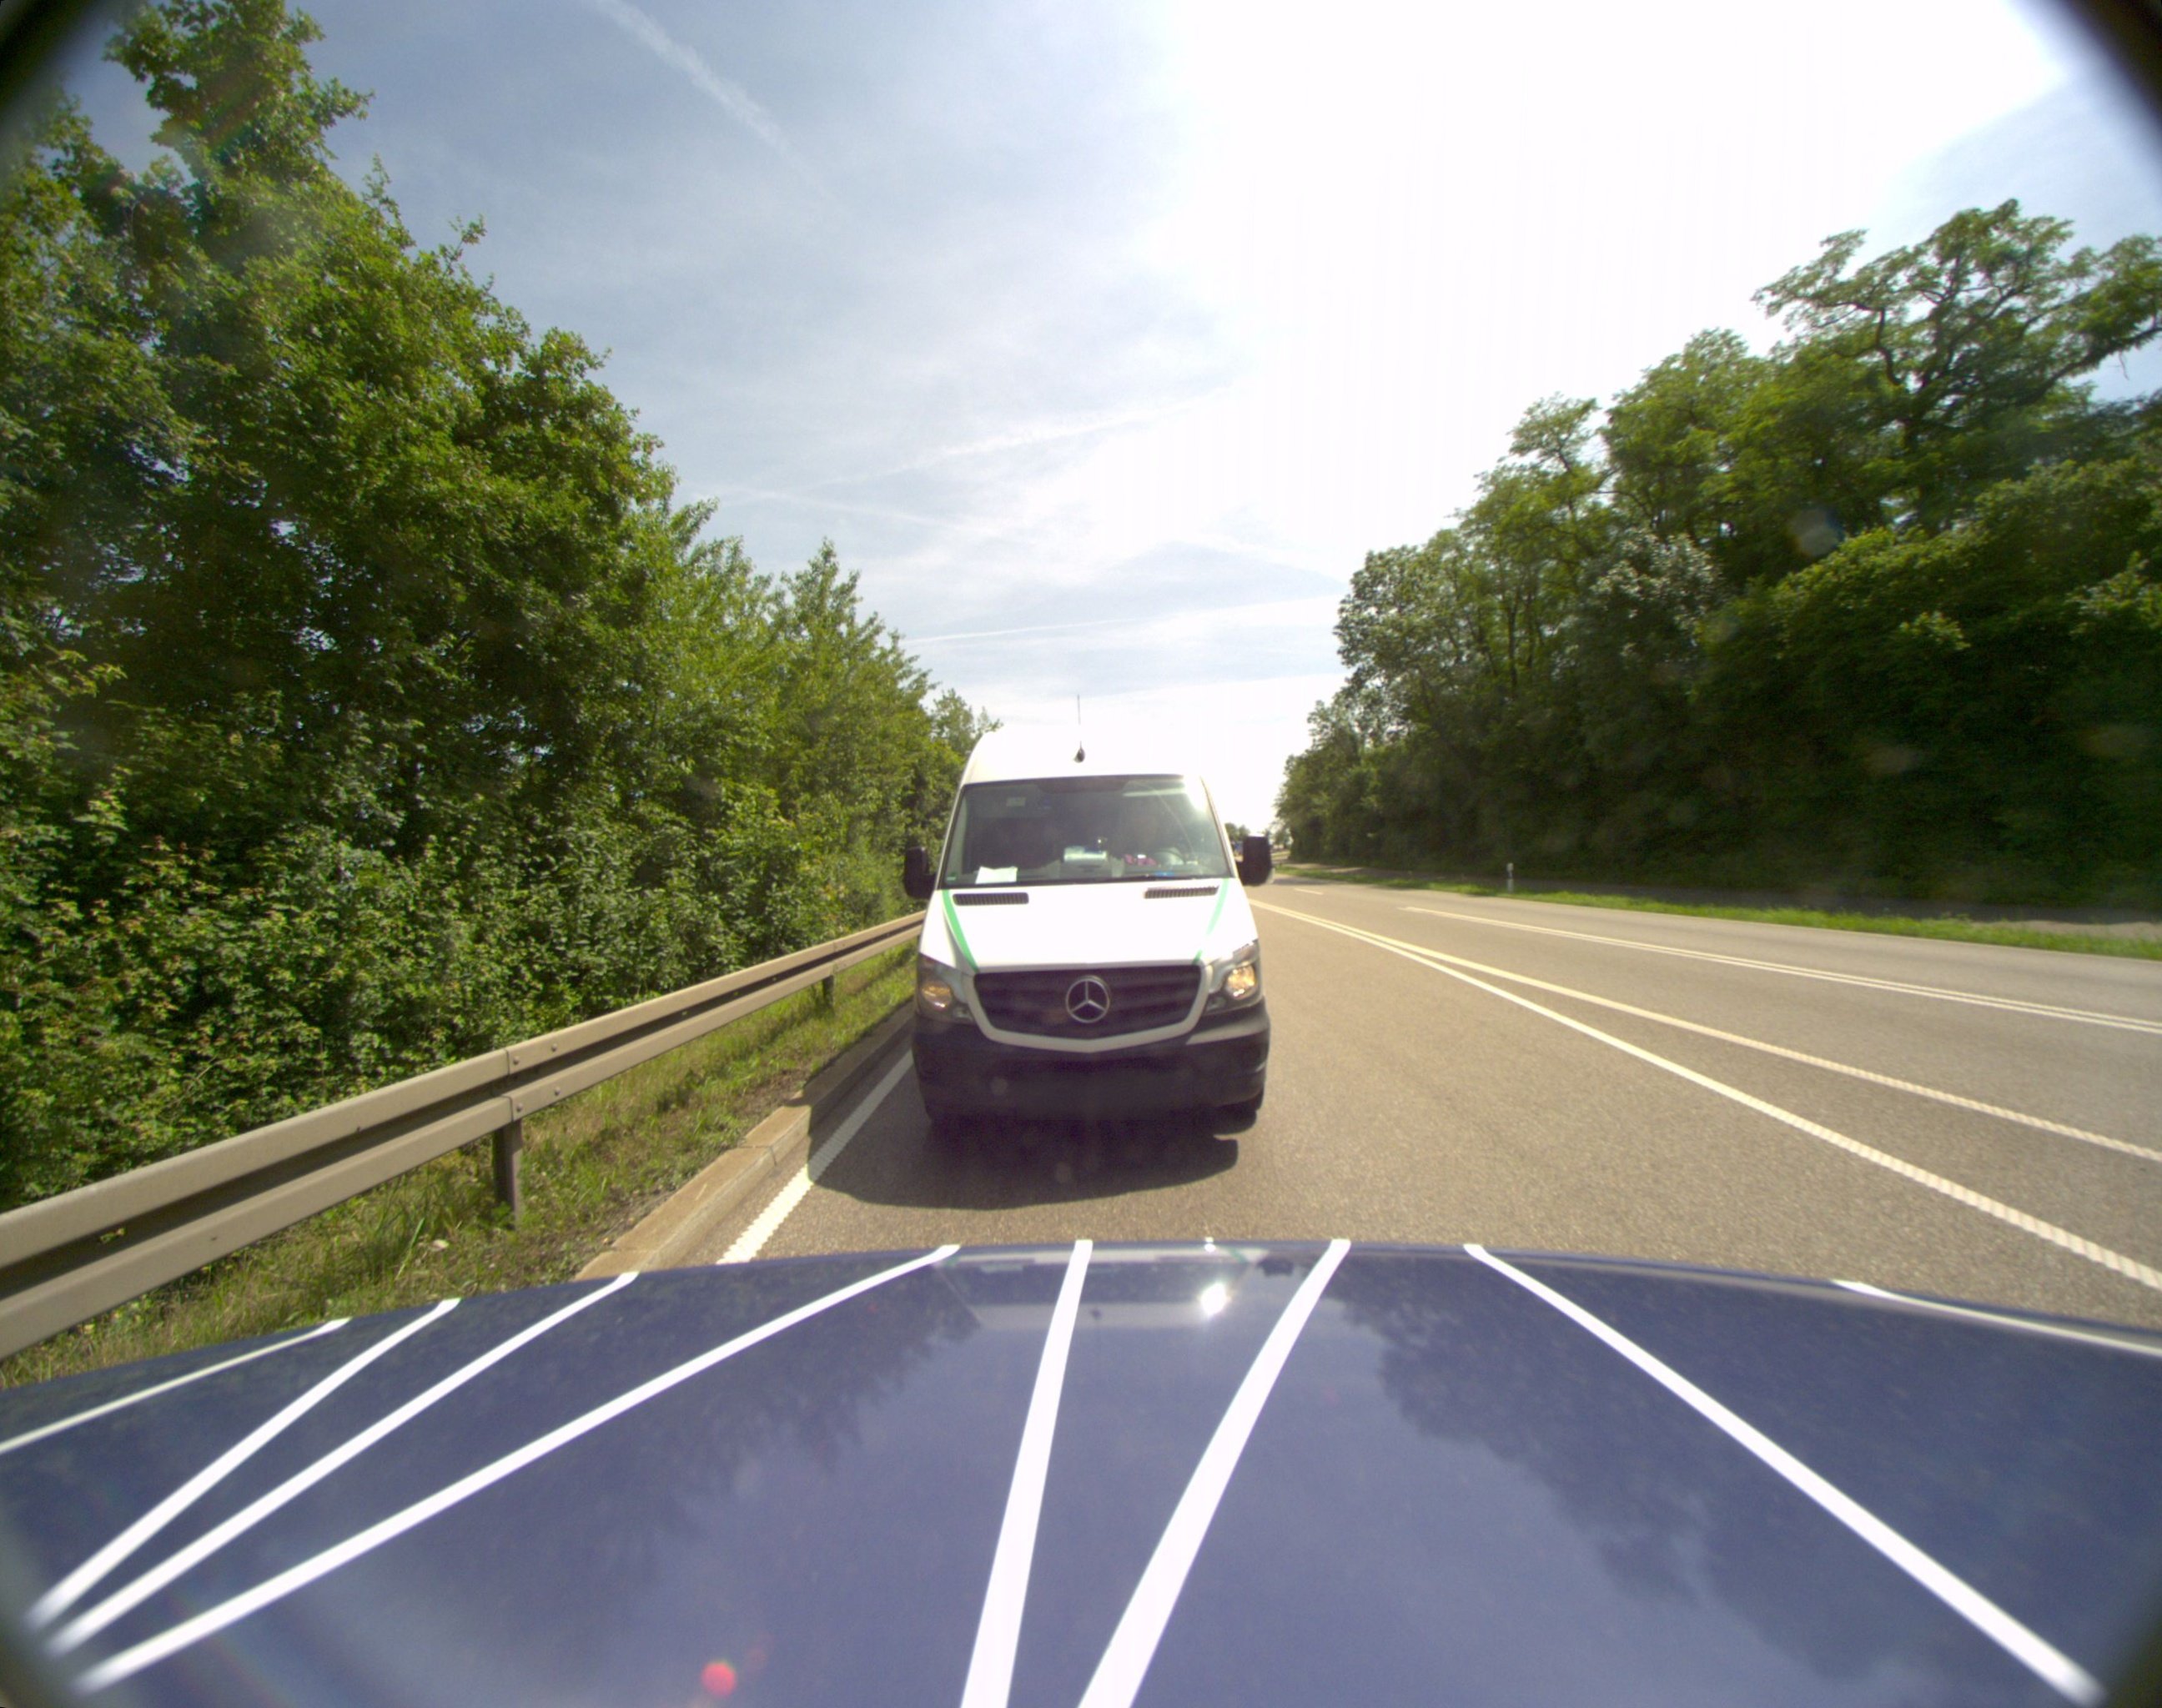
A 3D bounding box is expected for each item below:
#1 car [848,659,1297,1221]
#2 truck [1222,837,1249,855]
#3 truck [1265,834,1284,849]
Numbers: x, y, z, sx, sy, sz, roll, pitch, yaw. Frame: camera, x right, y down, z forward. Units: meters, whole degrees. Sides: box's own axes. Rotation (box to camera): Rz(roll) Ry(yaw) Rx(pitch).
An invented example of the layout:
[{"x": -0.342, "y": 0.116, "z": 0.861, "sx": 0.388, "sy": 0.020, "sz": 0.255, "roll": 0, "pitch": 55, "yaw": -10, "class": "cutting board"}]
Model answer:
[{"x": 0.042, "y": 0.407, "z": 6.088, "sx": 1.958, "sy": 2.502, "sz": 5.267, "roll": -2, "pitch": 0, "yaw": 2, "class": "car"}, {"x": 41.559, "y": -2.081, "z": 204.164, "sx": 4.391, "sy": 4.433, "sz": 14.733, "roll": -2, "pitch": 0, "yaw": 21, "class": "truck"}, {"x": 62.449, "y": -4.020, "z": 245.057, "sx": 3.980, "sy": 4.433, "sz": 14.361, "roll": -2, "pitch": 0, "yaw": 21, "class": "truck"}]
